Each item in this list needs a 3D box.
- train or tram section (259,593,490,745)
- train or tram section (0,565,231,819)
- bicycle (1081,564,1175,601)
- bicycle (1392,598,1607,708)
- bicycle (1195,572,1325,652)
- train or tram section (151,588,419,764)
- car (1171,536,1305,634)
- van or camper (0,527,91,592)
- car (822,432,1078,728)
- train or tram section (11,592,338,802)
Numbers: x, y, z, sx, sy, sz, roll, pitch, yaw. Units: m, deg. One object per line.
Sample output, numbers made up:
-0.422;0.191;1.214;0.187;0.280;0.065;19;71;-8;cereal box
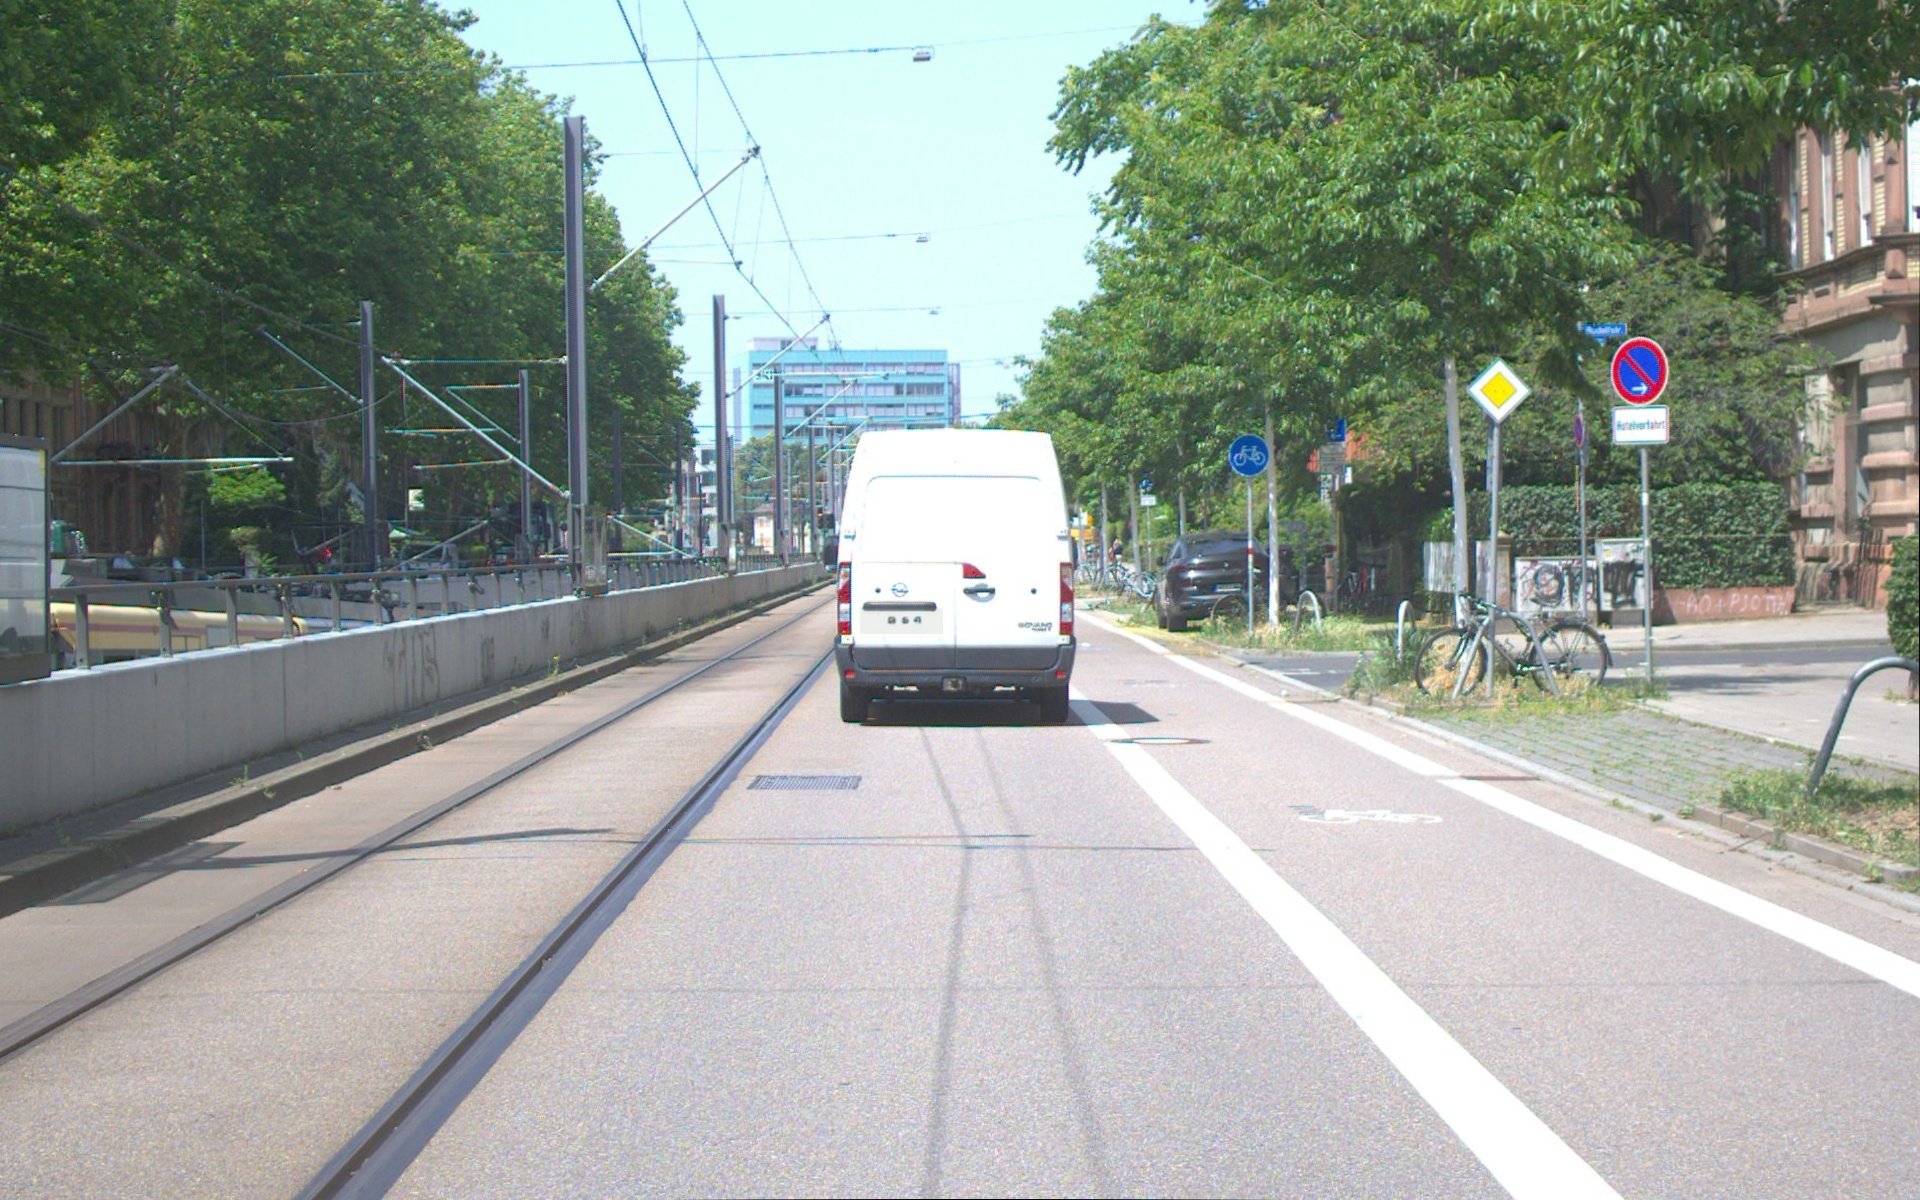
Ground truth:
-10.813;1.186;64.479;2.729;2.500;10.090;0;1;-1;train or tram section
-10.451;0.889;38.830;2.729;2.500;8.517;0;1;-1;train or tram section
3.976;-0.416;80.755;1.560;0.823;3.998;0;1;12;bicycle
4.825;0.471;30.782;1.842;0.950;0.503;-1;1;1;bicycle
4.538;0.181;52.059;1.887;1.178;0.640;0;1;-2;bicycle
-10.681;1.113;55.231;2.729;2.500;8.491;0;1;-1;train or tram section
4.862;-0.293;60.701;2.157;1.664;4.000;0;1;2;car
-29.890;-1.293;109.437;3.986;2.007;2.000;-1;1;-3;van or camper
-0.089;-0.204;31.115;2.117;2.450;5.054;0;1;0;car
-10.564;1.203;47.047;2.729;2.500;8.004;0;1;-1;train or tram section
